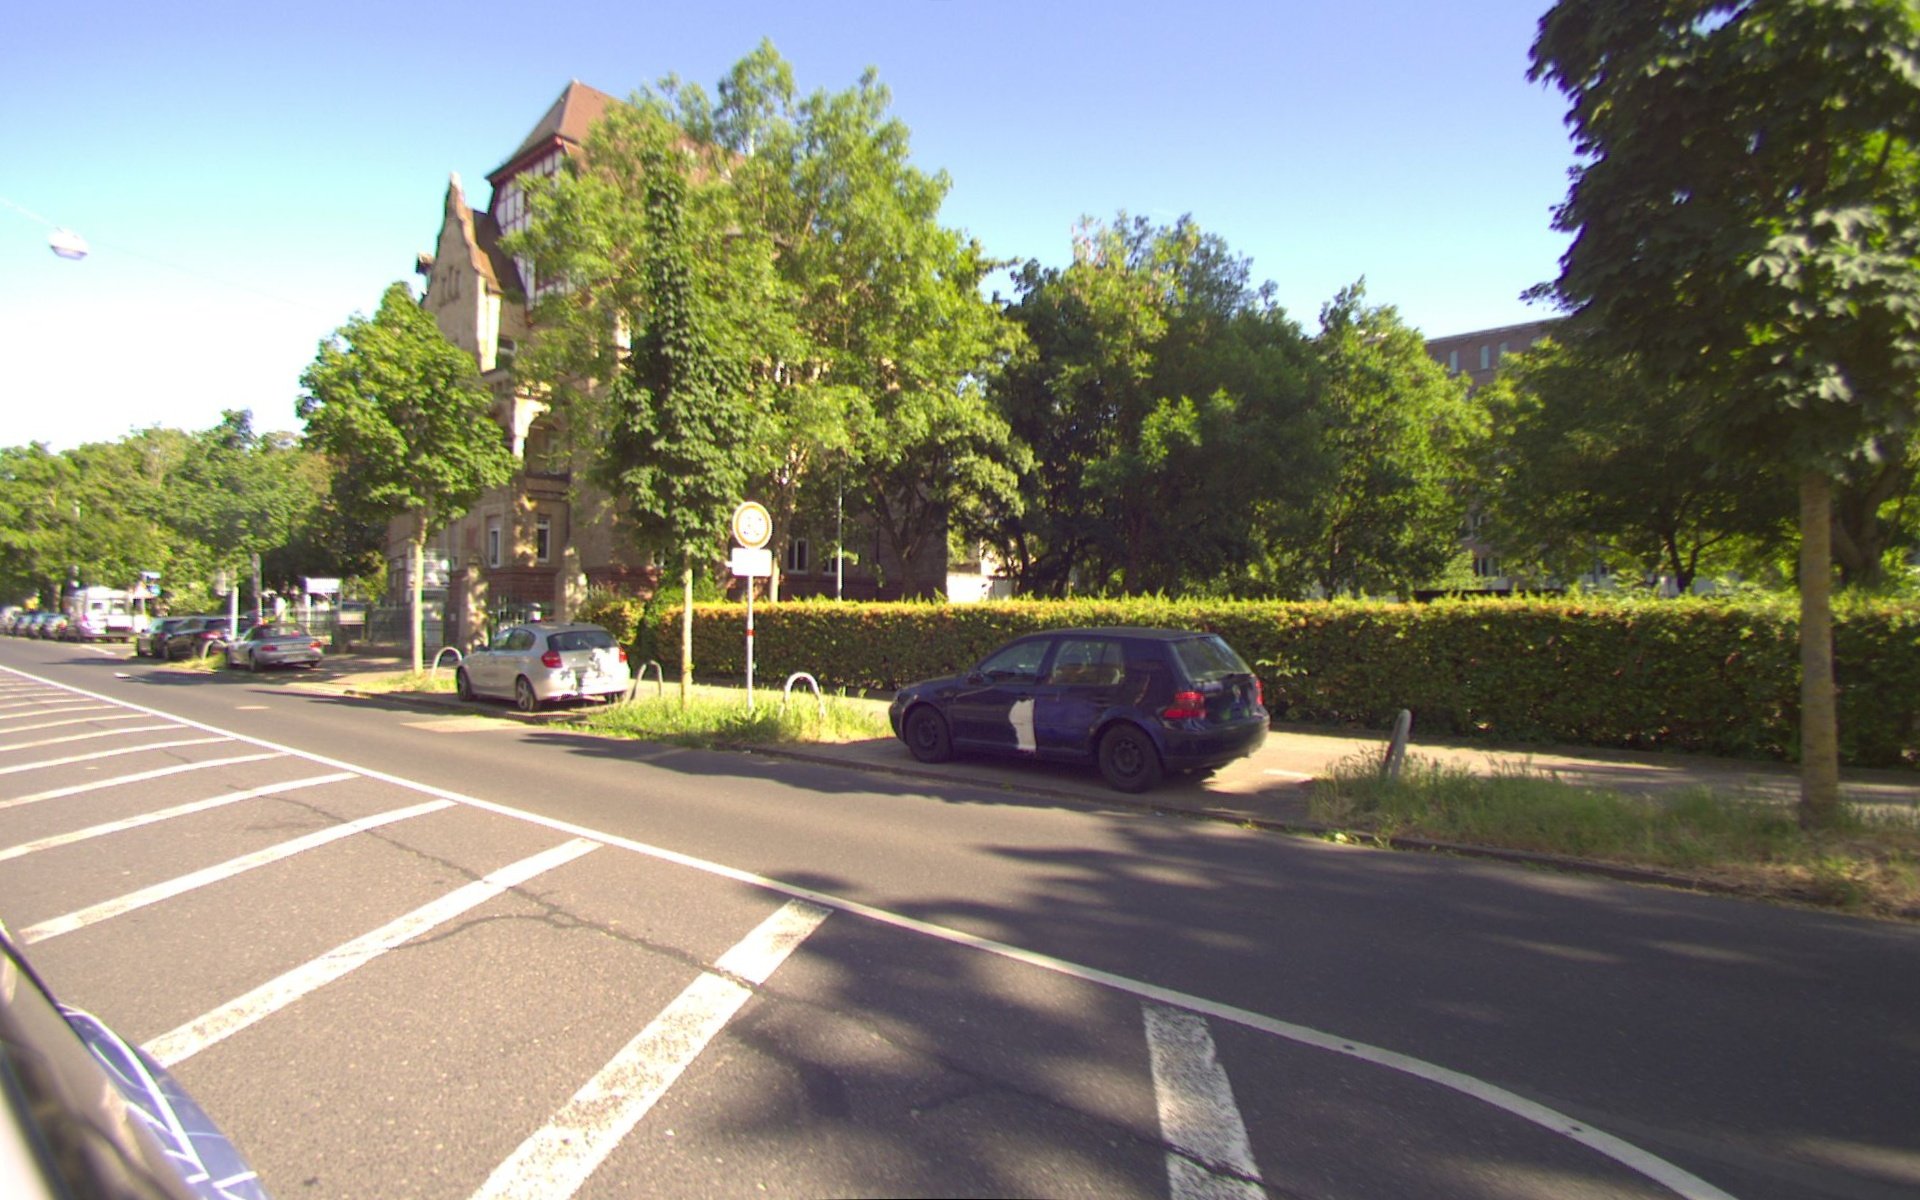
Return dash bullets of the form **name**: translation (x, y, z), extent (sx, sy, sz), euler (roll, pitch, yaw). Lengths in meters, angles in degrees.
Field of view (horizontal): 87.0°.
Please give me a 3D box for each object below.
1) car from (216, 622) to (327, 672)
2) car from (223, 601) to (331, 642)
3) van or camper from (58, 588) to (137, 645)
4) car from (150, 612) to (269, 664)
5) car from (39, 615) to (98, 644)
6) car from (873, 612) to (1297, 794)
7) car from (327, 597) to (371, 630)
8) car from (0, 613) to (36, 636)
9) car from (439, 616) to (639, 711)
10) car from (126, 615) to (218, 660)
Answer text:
- **car**: translation (-19.290, 1.262, 28.287), extent (4.013, 1.265, 1.660), euler (-1, 0, 42)
- **car**: translation (-32.421, 1.001, 48.188), extent (1.977, 1.682, 4.135), euler (-3, 1, 8)
- **van or camper**: translation (-44.293, 0.853, 51.916), extent (6.085, 2.760, 2.193), euler (-1, -2, 41)
- **car**: translation (-24.913, 1.221, 33.534), extent (4.697, 1.505, 1.839), euler (-1, 2, 37)
- **car**: translation (-48.712, 1.604, 55.296), extent (4.659, 1.468, 1.676), euler (-1, -3, 40)
- **car**: translation (1.111, 0.871, 10.313), extent (4.072, 1.470, 1.693), euler (-1, 0, 43)
- **car**: translation (-38.740, 0.821, 64.263), extent (1.833, 1.928, 4.467), euler (2, -1, -25)
- **car**: translation (-65.687, 1.712, 70.515), extent (3.957, 1.513, 1.448), euler (0, -2, 41)
- **car**: translation (-7.444, 1.015, 17.691), extent (4.192, 1.394, 1.669), euler (-1, 1, 44)
- **car**: translation (-29.168, 1.338, 37.400), extent (4.719, 1.438, 1.836), euler (-1, 2, 42)
